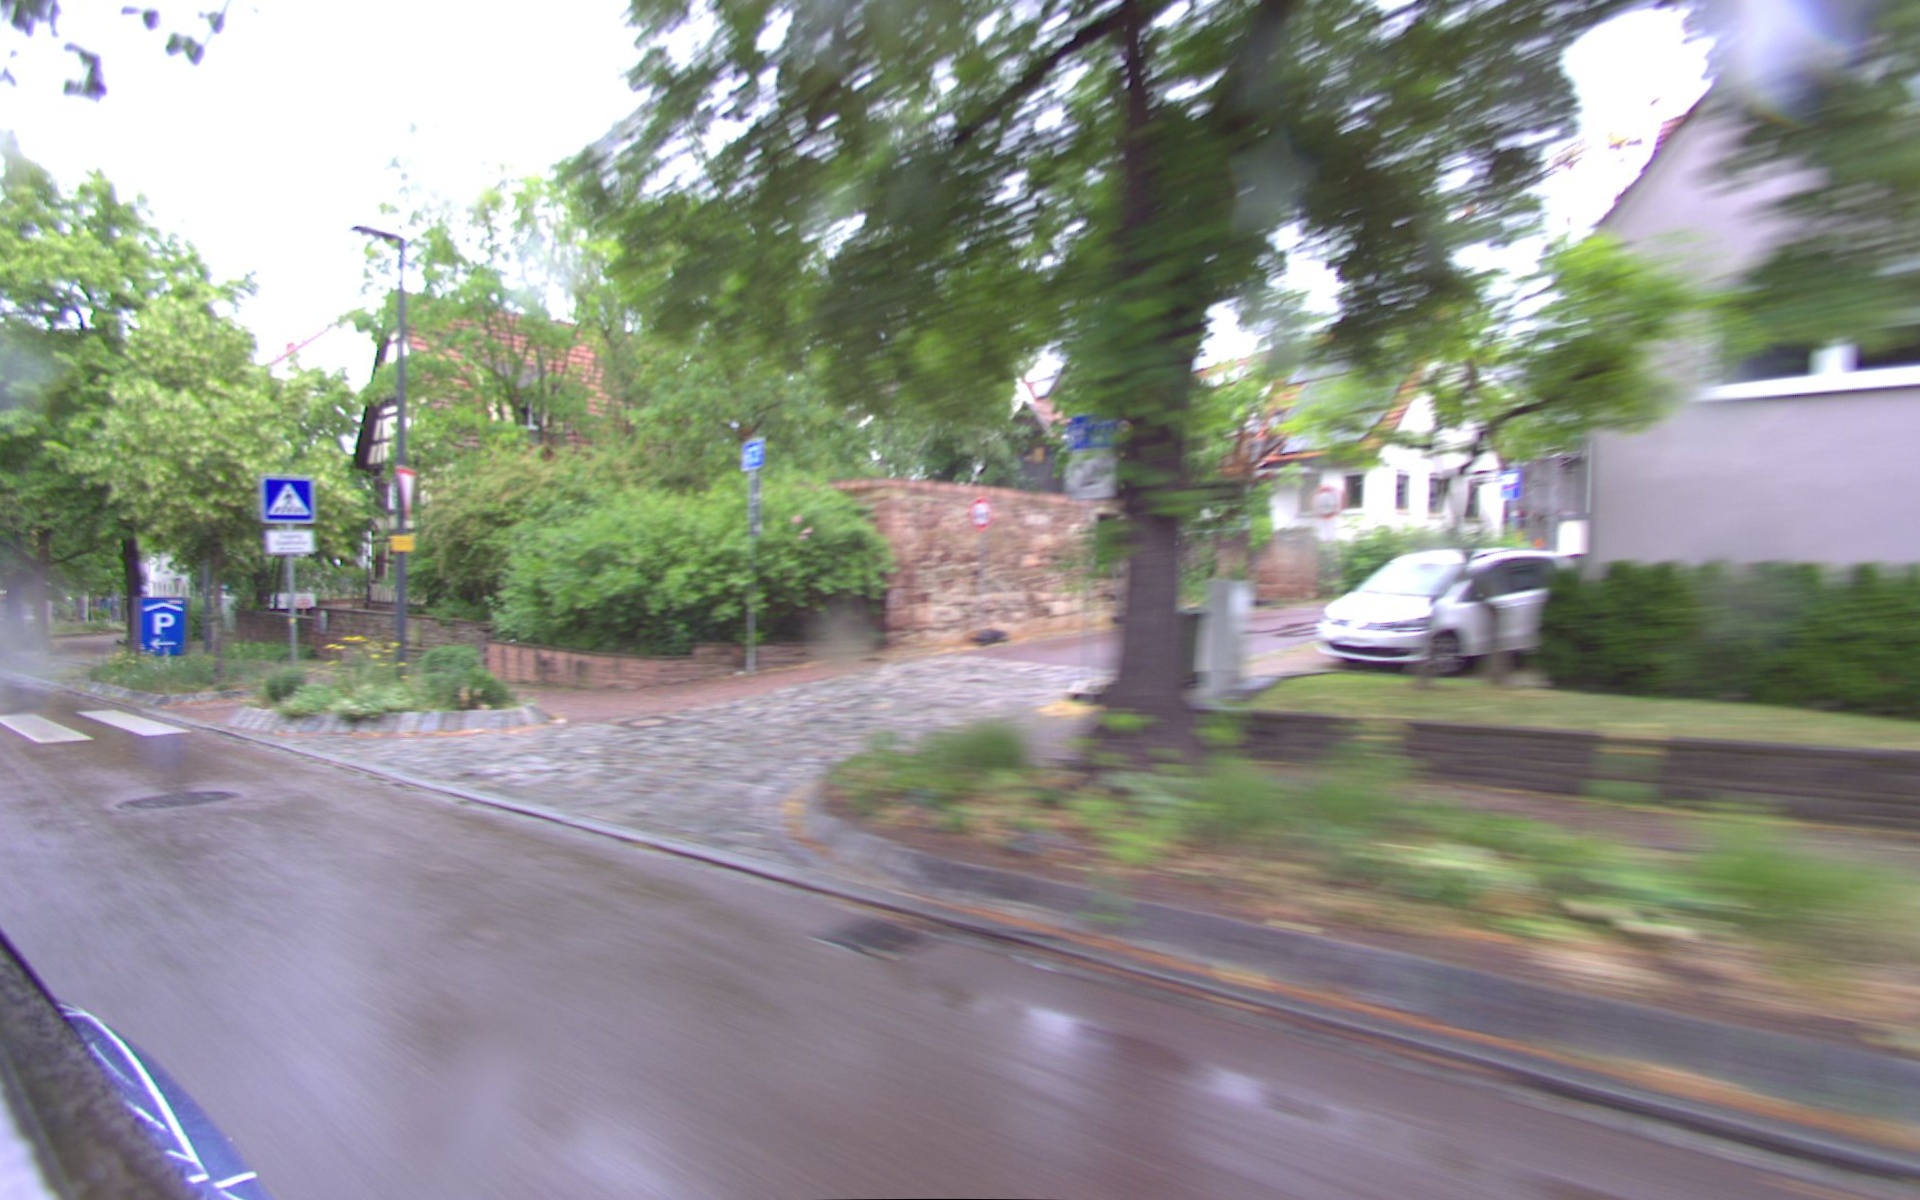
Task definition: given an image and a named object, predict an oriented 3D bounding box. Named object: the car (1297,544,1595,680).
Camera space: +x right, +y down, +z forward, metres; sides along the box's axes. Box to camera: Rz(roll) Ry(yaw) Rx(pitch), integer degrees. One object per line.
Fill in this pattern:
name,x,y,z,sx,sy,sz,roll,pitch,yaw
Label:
car,7.460,0.052,15.472,4.340,1.670,2.074,-4,5,-32
